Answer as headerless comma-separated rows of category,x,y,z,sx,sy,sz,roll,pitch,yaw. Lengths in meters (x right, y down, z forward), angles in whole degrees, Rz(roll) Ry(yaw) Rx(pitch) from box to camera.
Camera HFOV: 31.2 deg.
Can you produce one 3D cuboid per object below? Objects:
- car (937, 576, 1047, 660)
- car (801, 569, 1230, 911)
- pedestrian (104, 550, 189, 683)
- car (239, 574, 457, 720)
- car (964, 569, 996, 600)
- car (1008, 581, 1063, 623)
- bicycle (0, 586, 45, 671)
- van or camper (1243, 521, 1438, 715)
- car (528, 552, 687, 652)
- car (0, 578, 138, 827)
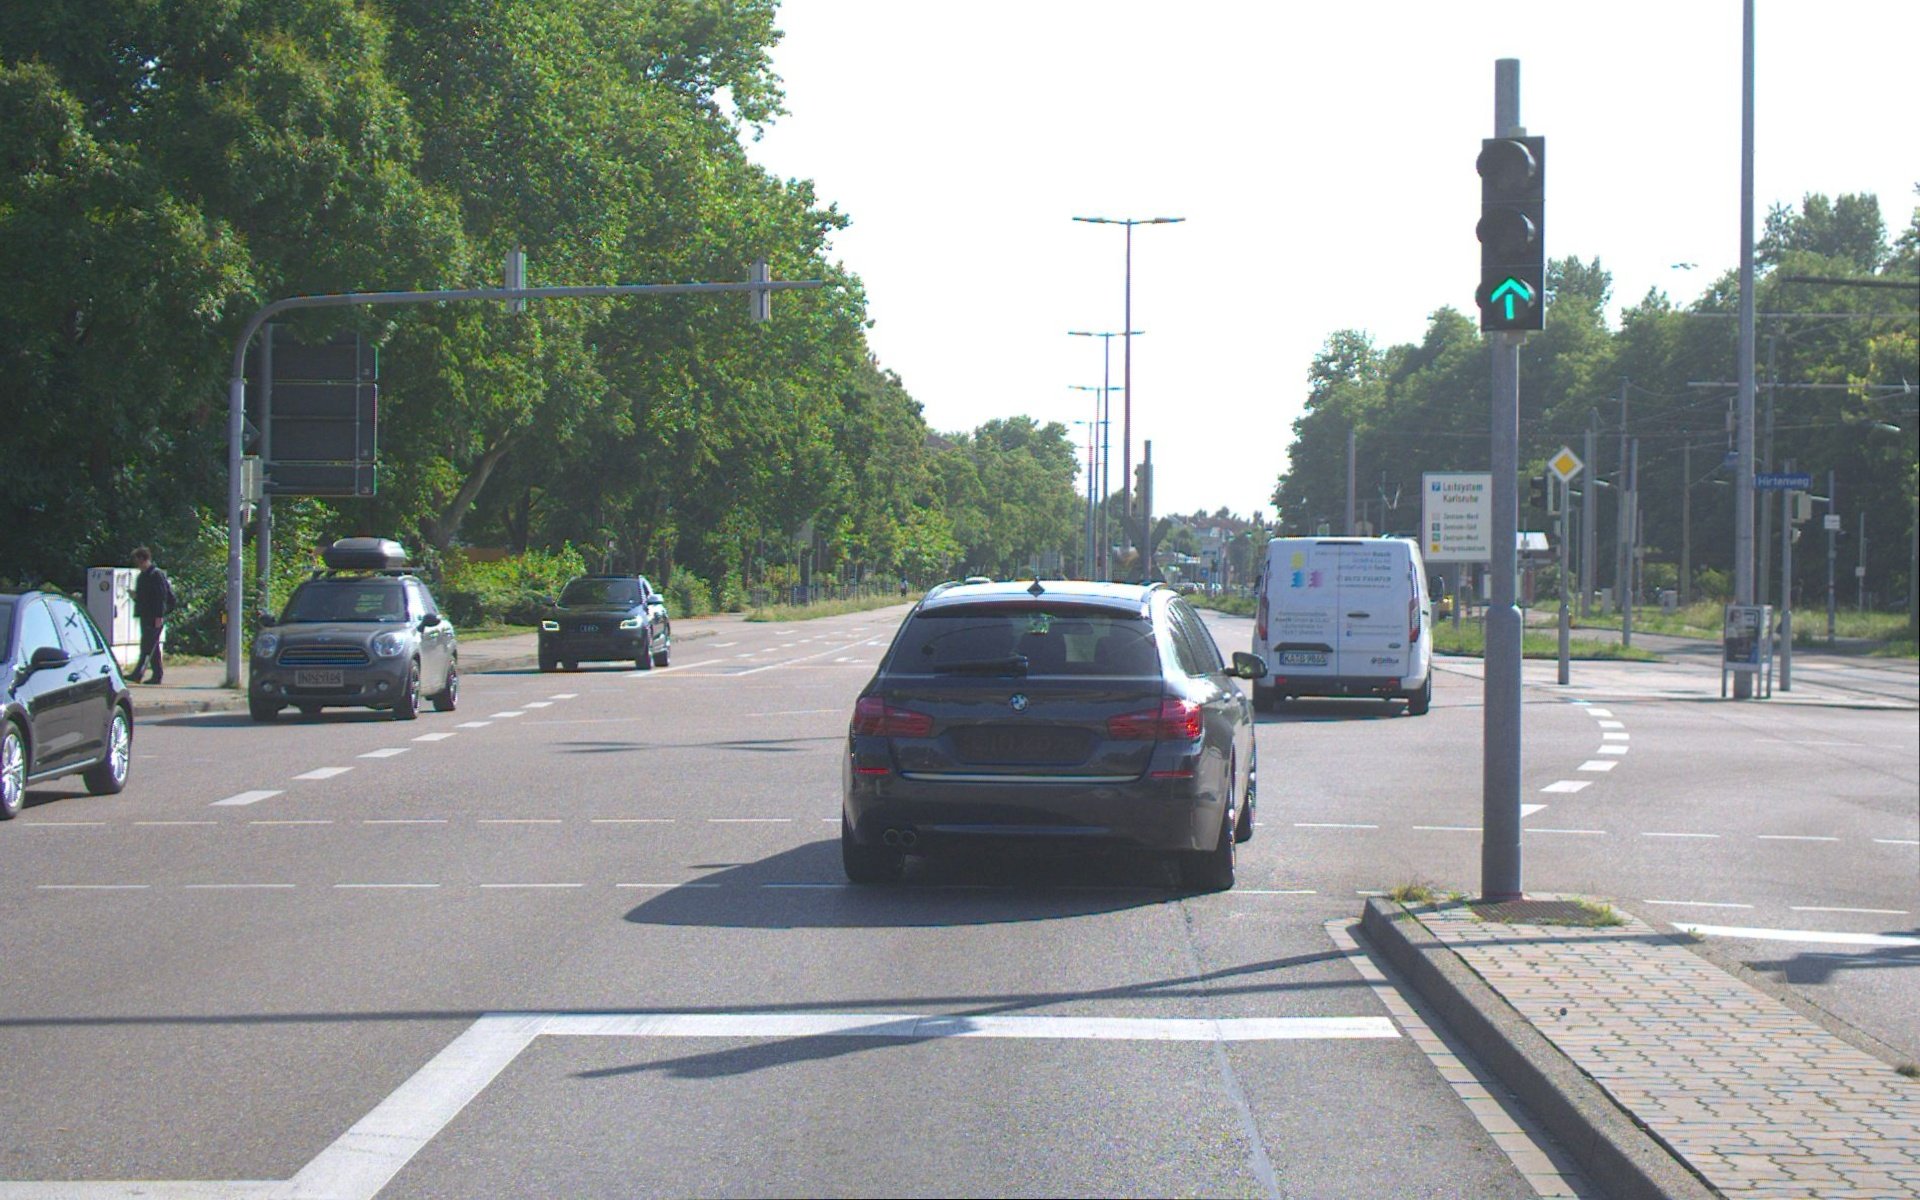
car,0.611,0.298,61.825,1.829,1.426,4.731,0,0,2
car,0.388,0.612,17.436,1.903,1.500,4.064,1,0,4
pedestrian,-10.858,0.216,45.924,0.816,1.746,0.931,1,1,6
car,-6.682,0.477,37.896,1.788,1.515,4.000,0,0,-1
car,1.157,-0.934,202.491,1.788,1.766,4.570,1,0,0
car,2.815,0.060,127.520,1.849,1.472,4.645,1,0,3
bicycle,-13.319,0.370,46.103,1.909,1.115,0.632,1,0,1
van or camper,4.459,0.180,39.728,1.994,2.089,4.596,1,0,9
car,-6.049,0.013,59.494,1.989,1.653,4.384,0,0,5
car,-6.683,0.598,22.153,1.888,1.469,4.100,0,0,-1
